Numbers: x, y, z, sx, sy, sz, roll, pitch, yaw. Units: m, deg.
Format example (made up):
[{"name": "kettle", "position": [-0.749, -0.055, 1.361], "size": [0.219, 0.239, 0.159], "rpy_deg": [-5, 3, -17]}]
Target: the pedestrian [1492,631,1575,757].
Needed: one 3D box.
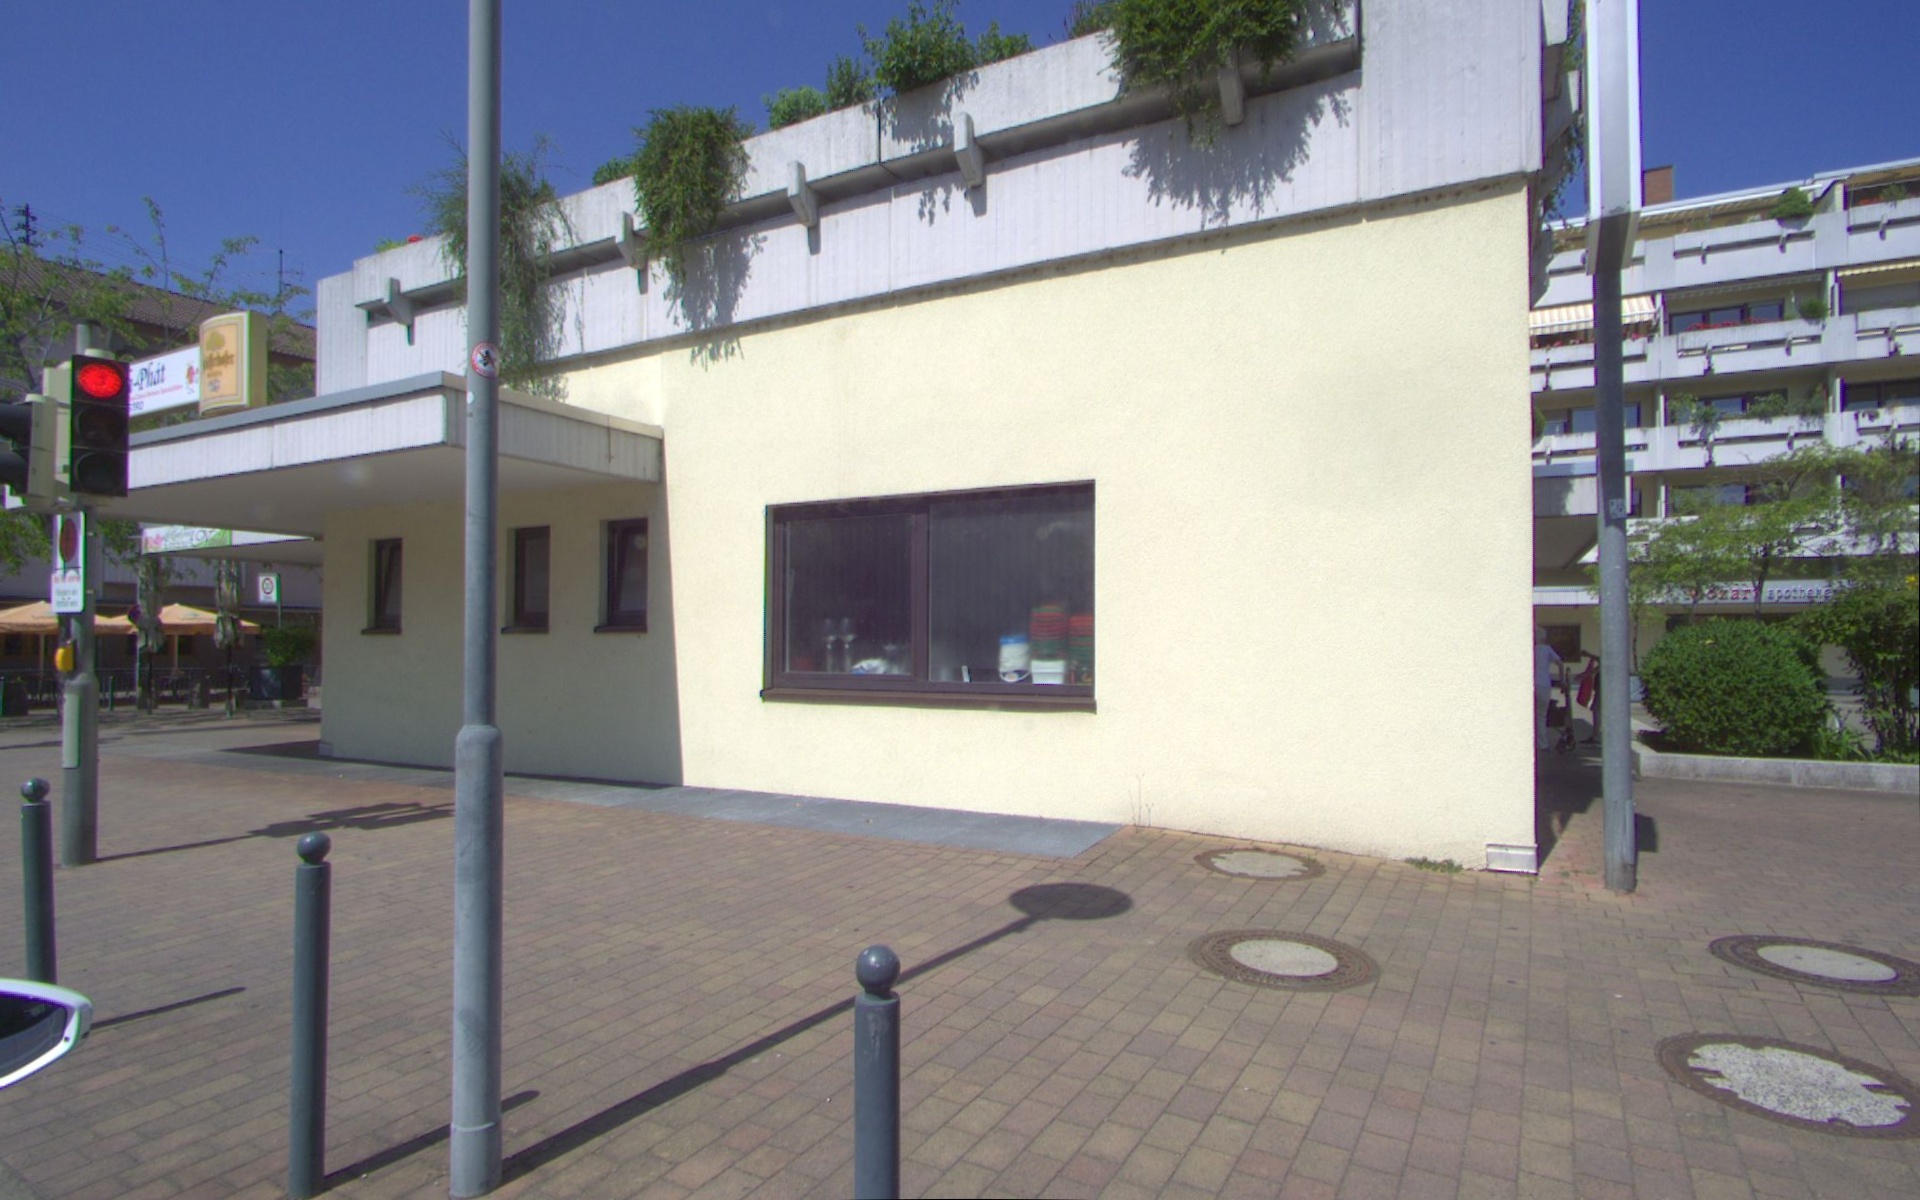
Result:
[{"name": "pedestrian", "position": [7.218, 1.160, 12.610], "size": [0.801, 1.516, 0.615], "rpy_deg": [1, -2, -35]}]

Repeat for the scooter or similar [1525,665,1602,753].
[{"name": "scooter or similar", "position": [7.867, 1.405, 13.058], "size": [0.795, 1.088, 0.587], "rpy_deg": [2, -2, -35]}]

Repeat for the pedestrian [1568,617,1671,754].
[{"name": "pedestrian", "position": [8.767, 1.120, 13.343], "size": [0.885, 1.758, 0.704], "rpy_deg": [0, -2, -9]}]
